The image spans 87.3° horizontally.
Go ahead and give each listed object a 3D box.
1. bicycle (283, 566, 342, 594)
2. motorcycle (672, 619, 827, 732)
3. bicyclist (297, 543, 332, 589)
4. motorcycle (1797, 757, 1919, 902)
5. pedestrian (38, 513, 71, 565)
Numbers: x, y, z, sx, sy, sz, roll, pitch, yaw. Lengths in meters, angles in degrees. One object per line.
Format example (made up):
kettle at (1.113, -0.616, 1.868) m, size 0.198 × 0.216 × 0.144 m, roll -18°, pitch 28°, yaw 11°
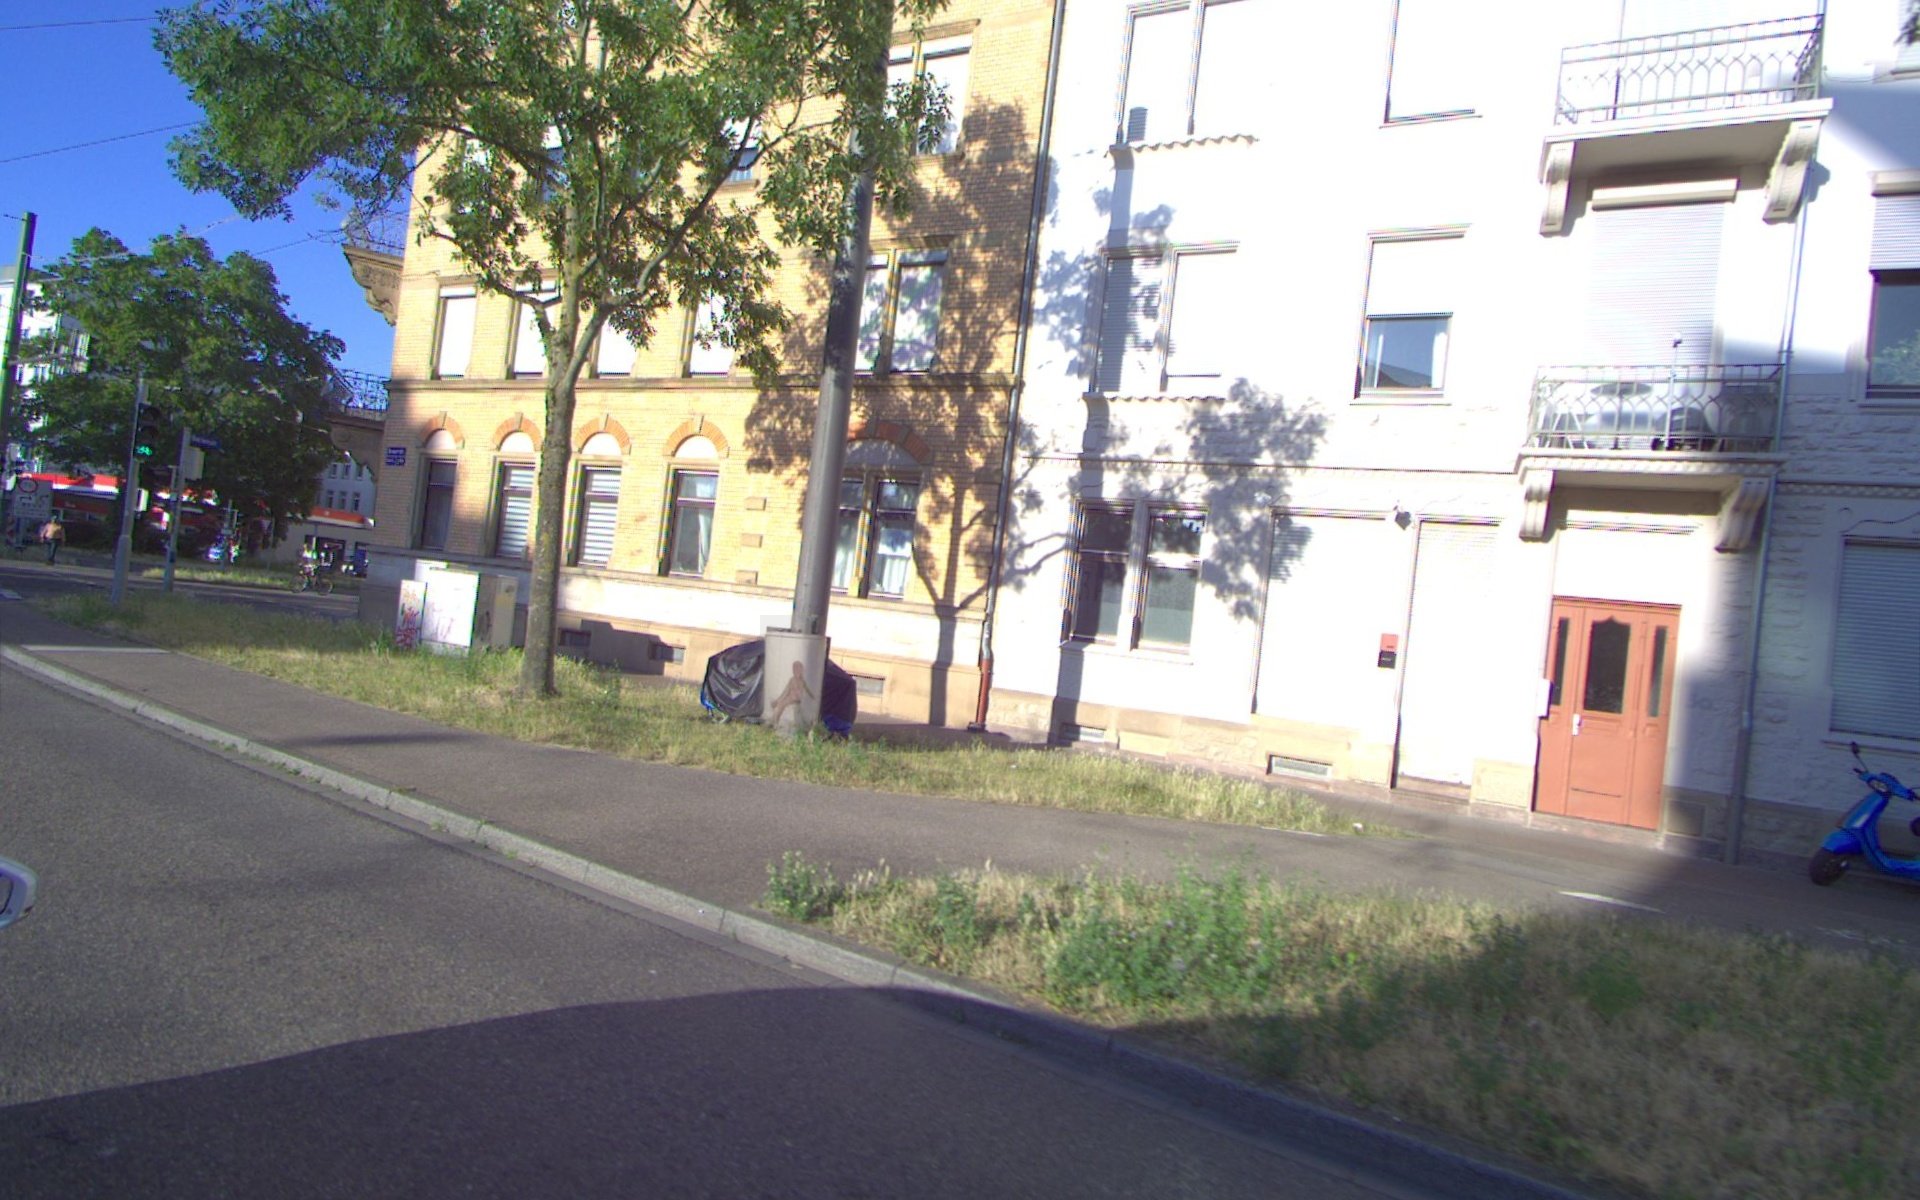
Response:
bicycle at (-24.291, -0.741, 37.784) m, size 0.611 × 0.838 × 1.817 m, roll 6°, pitch -2°, yaw 18°
motorcycle at (-2.435, 0.850, 11.536) m, size 1.716 × 1.056 × 0.605 m, roll 6°, pitch -1°, yaw 34°
bicyclist at (-24.241, -1.265, 37.778) m, size 0.625 × 1.602 × 0.696 m, roll 6°, pitch -1°, yaw 18°
motorcycle at (9.462, 2.297, 9.650) m, size 2.036 × 1.227 × 0.555 m, roll 6°, pitch -2°, yaw 26°
pedestrian at (-30.636, -2.076, 34.036) m, size 0.689 × 1.648 × 0.552 m, roll 6°, pitch -1°, yaw 36°
